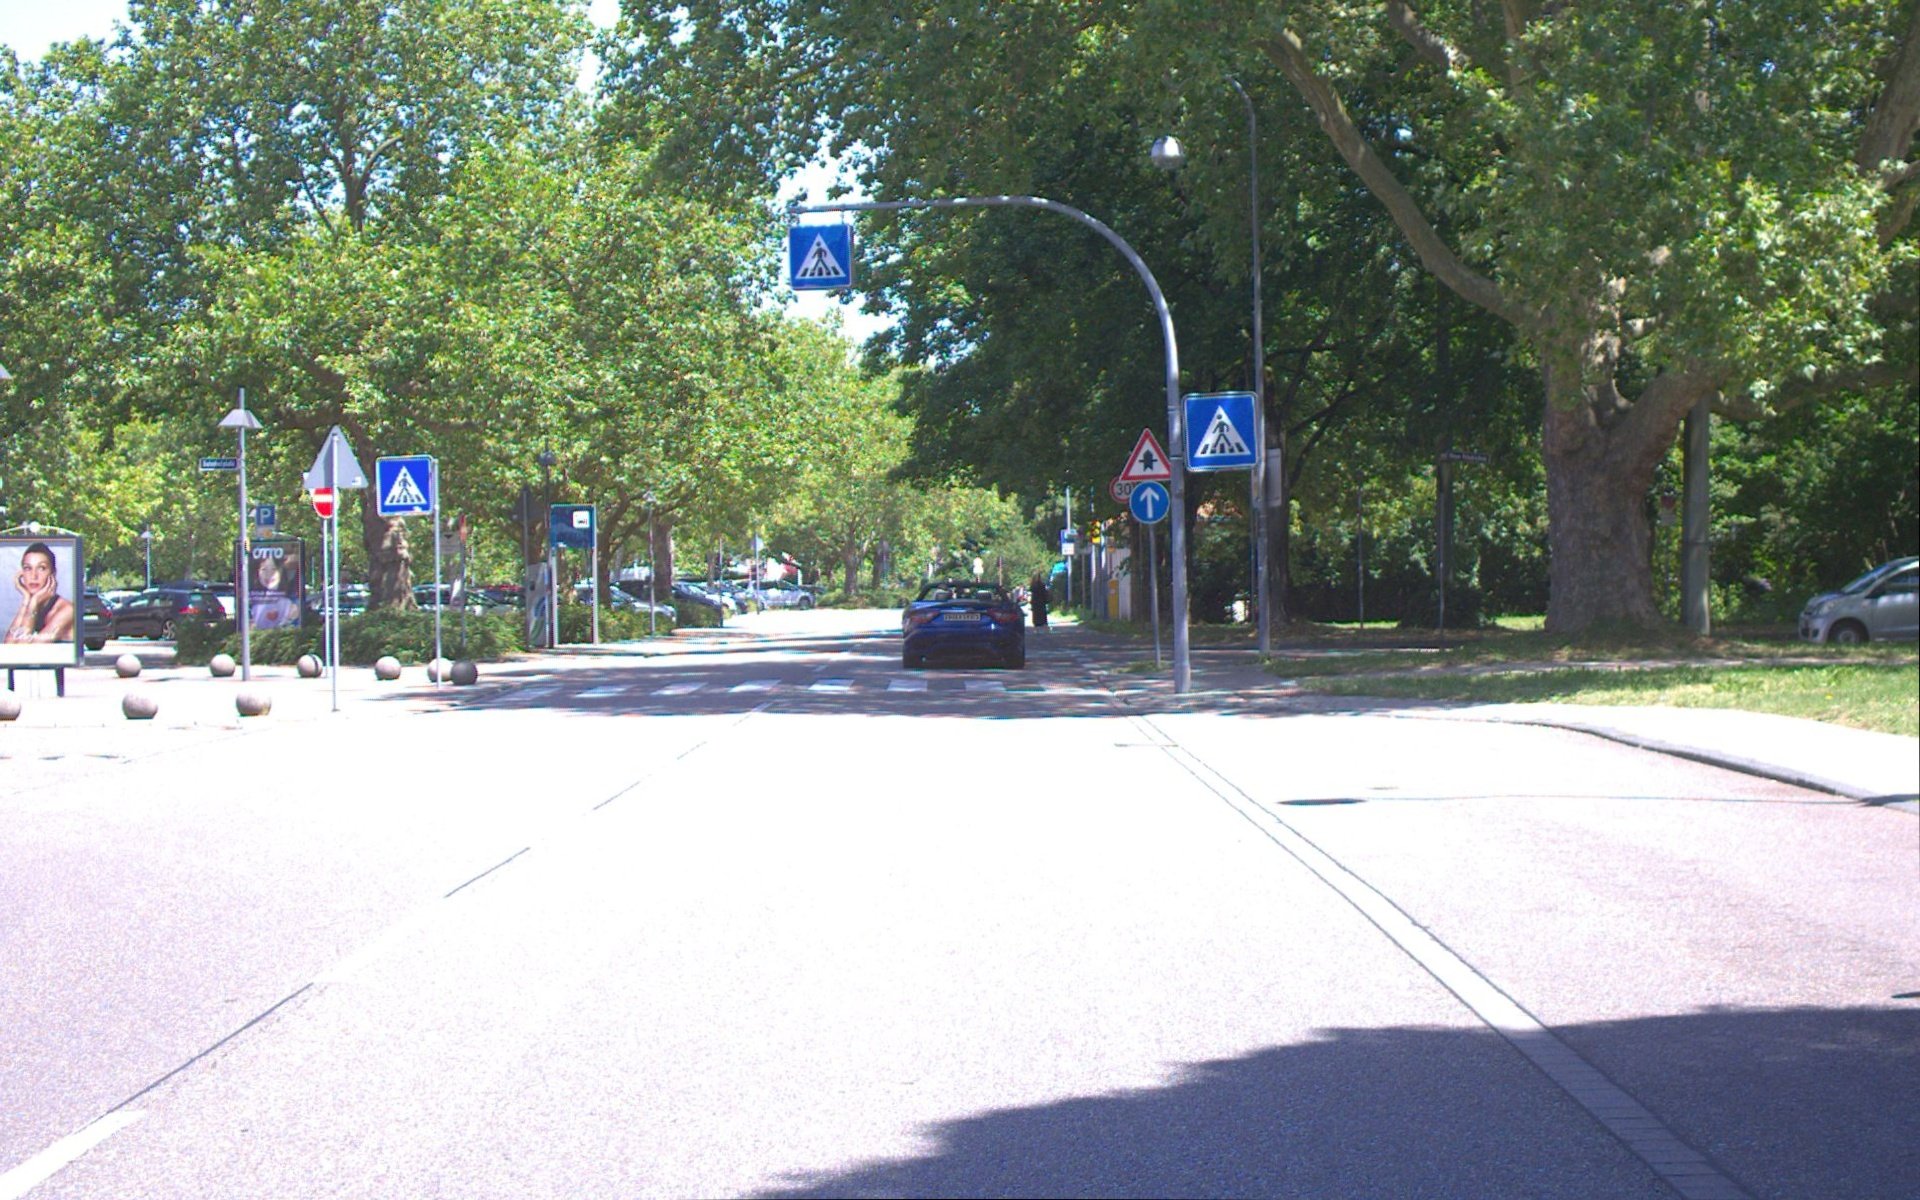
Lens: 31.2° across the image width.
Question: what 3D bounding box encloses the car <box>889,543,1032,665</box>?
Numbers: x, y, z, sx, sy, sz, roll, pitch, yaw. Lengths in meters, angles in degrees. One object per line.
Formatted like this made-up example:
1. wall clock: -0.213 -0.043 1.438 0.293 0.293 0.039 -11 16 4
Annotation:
1. car: -0.037 0.054 53.933 2.125 1.842 4.048 0 0 -1

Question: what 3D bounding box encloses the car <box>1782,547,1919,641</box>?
1. car: 15.445 -0.127 55.073 4.105 1.461 2.000 -1 0 3

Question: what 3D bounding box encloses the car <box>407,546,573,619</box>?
1. car: -12.301 -0.456 89.944 3.986 1.776 2.000 -1 -2 -18
